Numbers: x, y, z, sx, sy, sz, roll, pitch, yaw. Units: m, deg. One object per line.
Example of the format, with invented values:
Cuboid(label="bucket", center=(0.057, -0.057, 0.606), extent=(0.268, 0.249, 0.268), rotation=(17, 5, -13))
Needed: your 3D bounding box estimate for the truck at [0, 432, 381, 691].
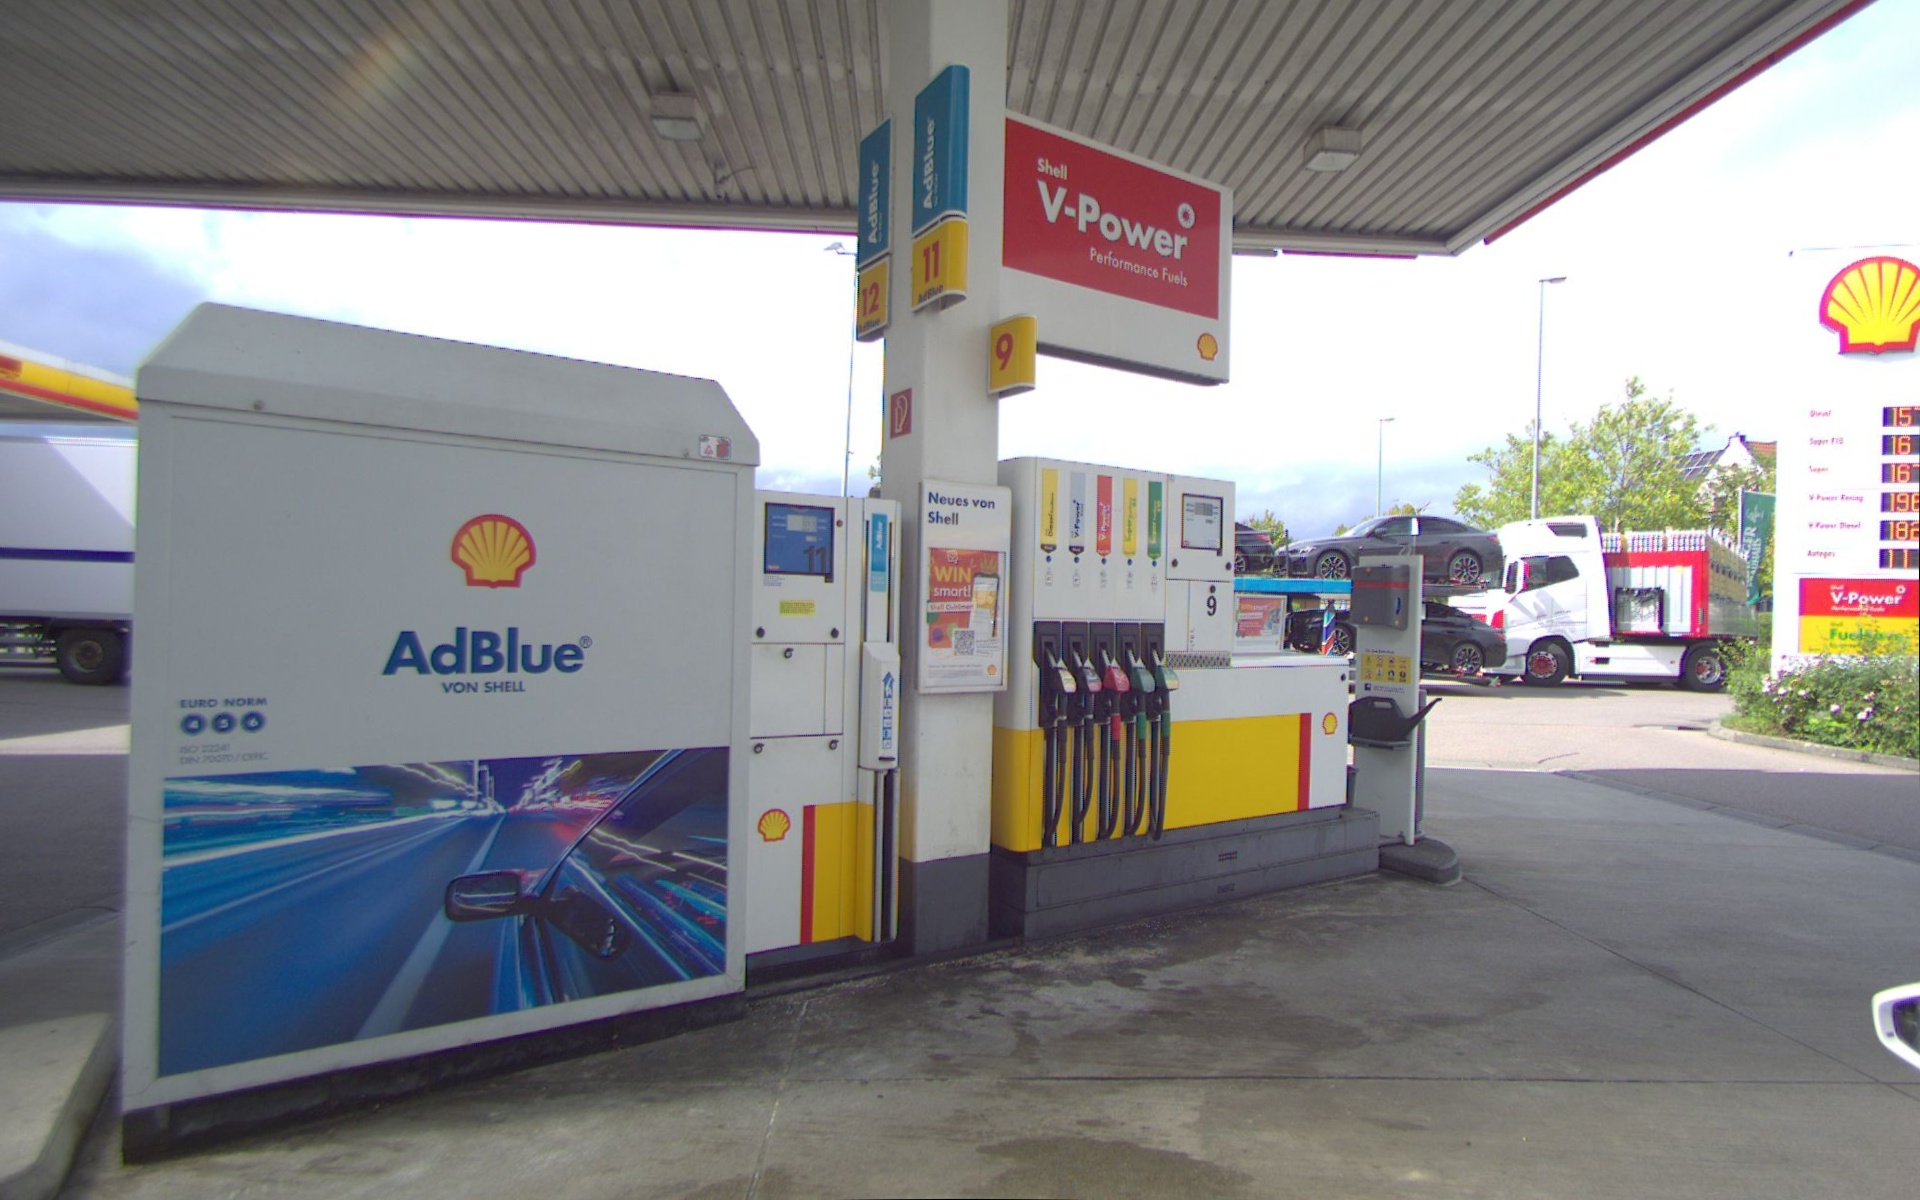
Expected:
Cuboid(label="truck", center=(-17.311, -0.729, 17.501), extent=(12.654, 4.092, 2.534), rotation=(2, 0, -3))

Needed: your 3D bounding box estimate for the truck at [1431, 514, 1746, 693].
Cuboid(label="truck", center=(14.934, 0.092, 24.207), extent=(5.802, 3.897, 2.741), rotation=(2, 0, 0))

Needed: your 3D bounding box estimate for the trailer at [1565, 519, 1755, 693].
Cuboid(label="trailer", center=(19.647, 0.254, 27.669), extent=(2.700, 3.826, 12.645), rotation=(2, 0, 42))

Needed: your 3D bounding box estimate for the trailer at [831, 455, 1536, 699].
Cuboid(label="trailer", center=(4.515, -0.460, 21.585), extent=(14.077, 4.481, 2.746), rotation=(2, 0, 0))

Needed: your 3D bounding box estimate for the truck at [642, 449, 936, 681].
Cuboid(label="truck", center=(-3.460, -0.696, 21.546), extent=(5.713, 4.479, 2.750), rotation=(2, 0, 0))
